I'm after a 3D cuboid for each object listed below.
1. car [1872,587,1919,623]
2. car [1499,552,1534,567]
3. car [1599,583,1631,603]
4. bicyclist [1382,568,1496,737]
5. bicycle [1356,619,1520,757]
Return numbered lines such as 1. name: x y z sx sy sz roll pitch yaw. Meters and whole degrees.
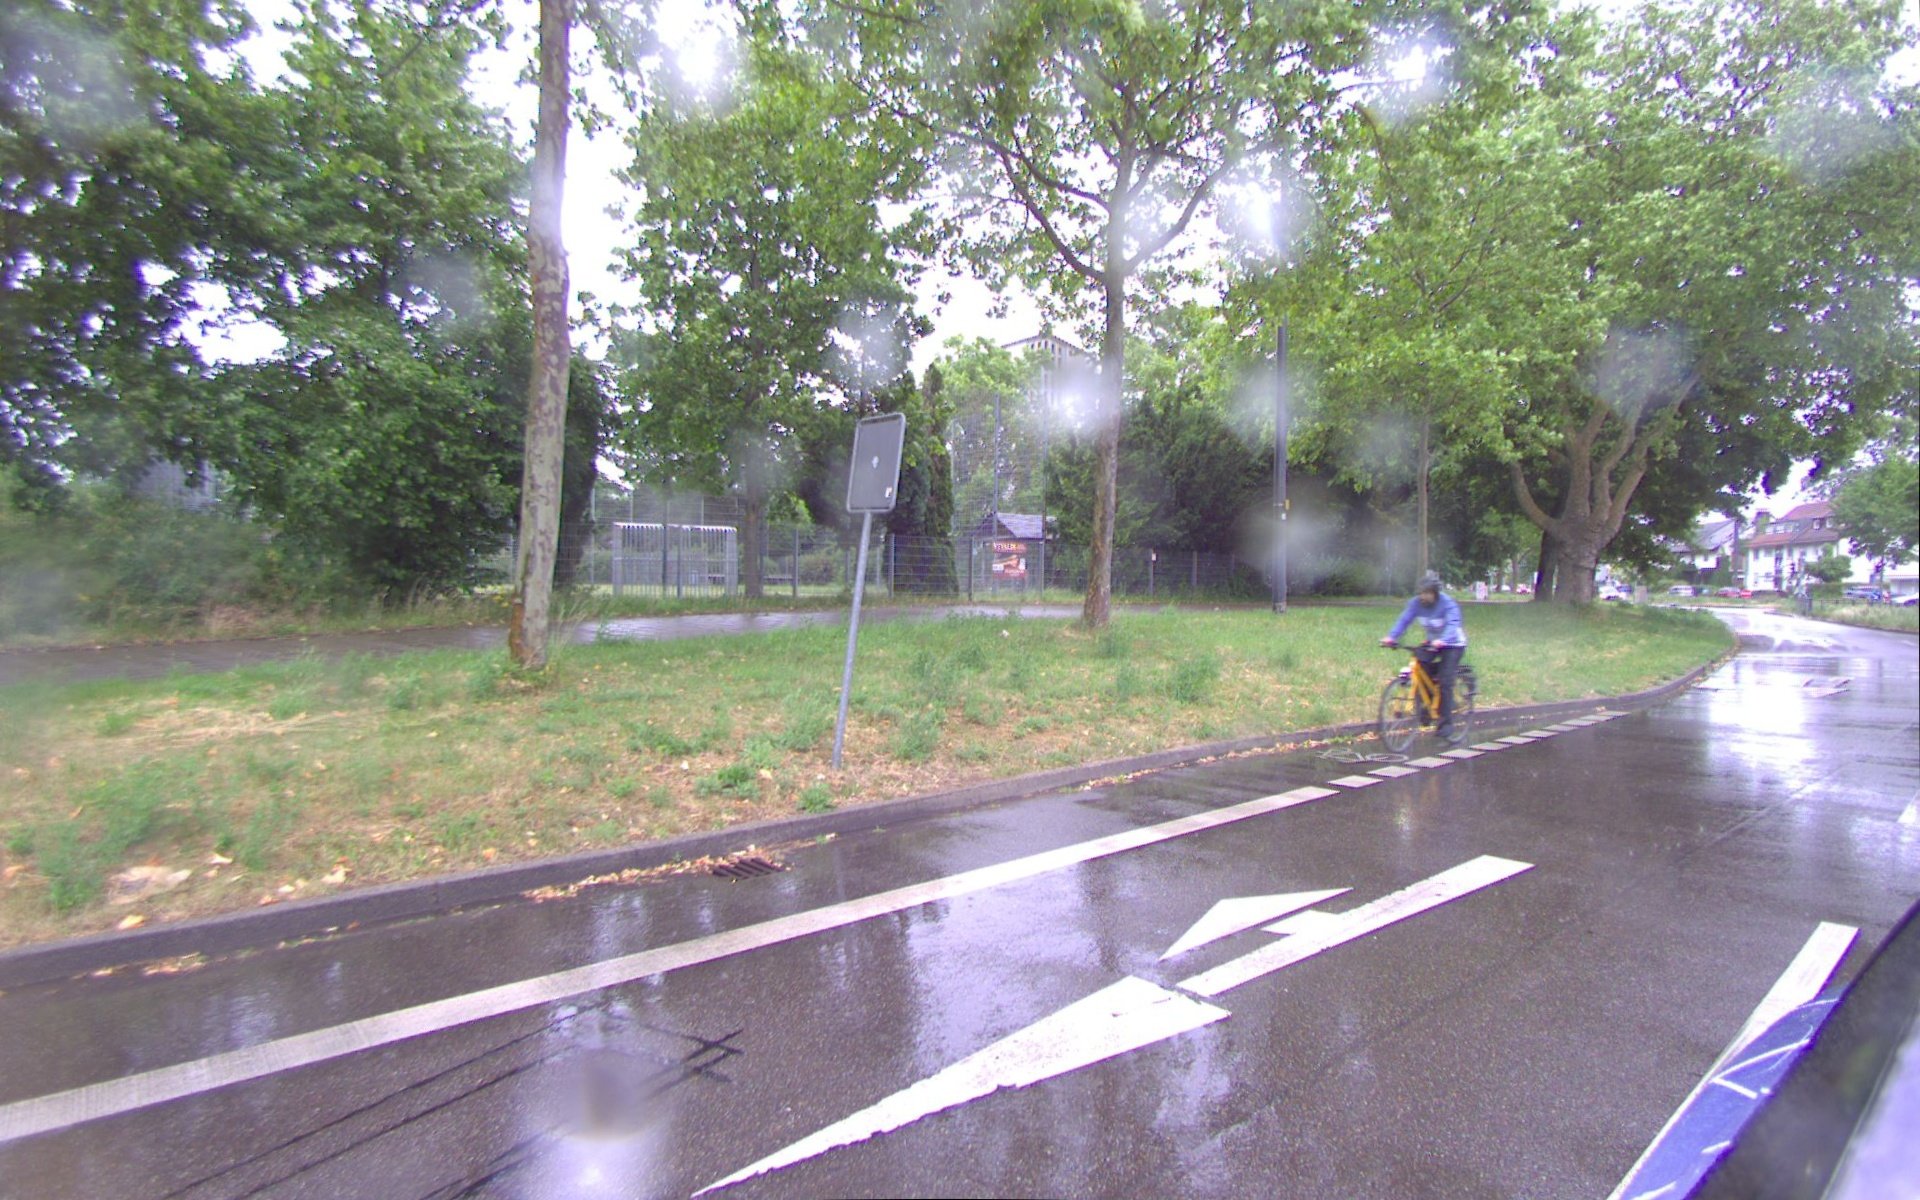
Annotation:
1. car: 39.298 0.190 40.518 4.025 1.438 1.652 0 0 39
2. car: 73.864 -5.316 134.358 3.958 1.850 1.983 0 0 25
3. car: 57.343 -0.619 88.693 1.854 1.638 3.776 0 0 25
4. bicyclist: 4.571 0.461 9.665 0.829 1.525 0.692 -1 1 -39
5. bicycle: 4.612 0.783 9.703 1.851 1.131 0.692 -1 1 -39
